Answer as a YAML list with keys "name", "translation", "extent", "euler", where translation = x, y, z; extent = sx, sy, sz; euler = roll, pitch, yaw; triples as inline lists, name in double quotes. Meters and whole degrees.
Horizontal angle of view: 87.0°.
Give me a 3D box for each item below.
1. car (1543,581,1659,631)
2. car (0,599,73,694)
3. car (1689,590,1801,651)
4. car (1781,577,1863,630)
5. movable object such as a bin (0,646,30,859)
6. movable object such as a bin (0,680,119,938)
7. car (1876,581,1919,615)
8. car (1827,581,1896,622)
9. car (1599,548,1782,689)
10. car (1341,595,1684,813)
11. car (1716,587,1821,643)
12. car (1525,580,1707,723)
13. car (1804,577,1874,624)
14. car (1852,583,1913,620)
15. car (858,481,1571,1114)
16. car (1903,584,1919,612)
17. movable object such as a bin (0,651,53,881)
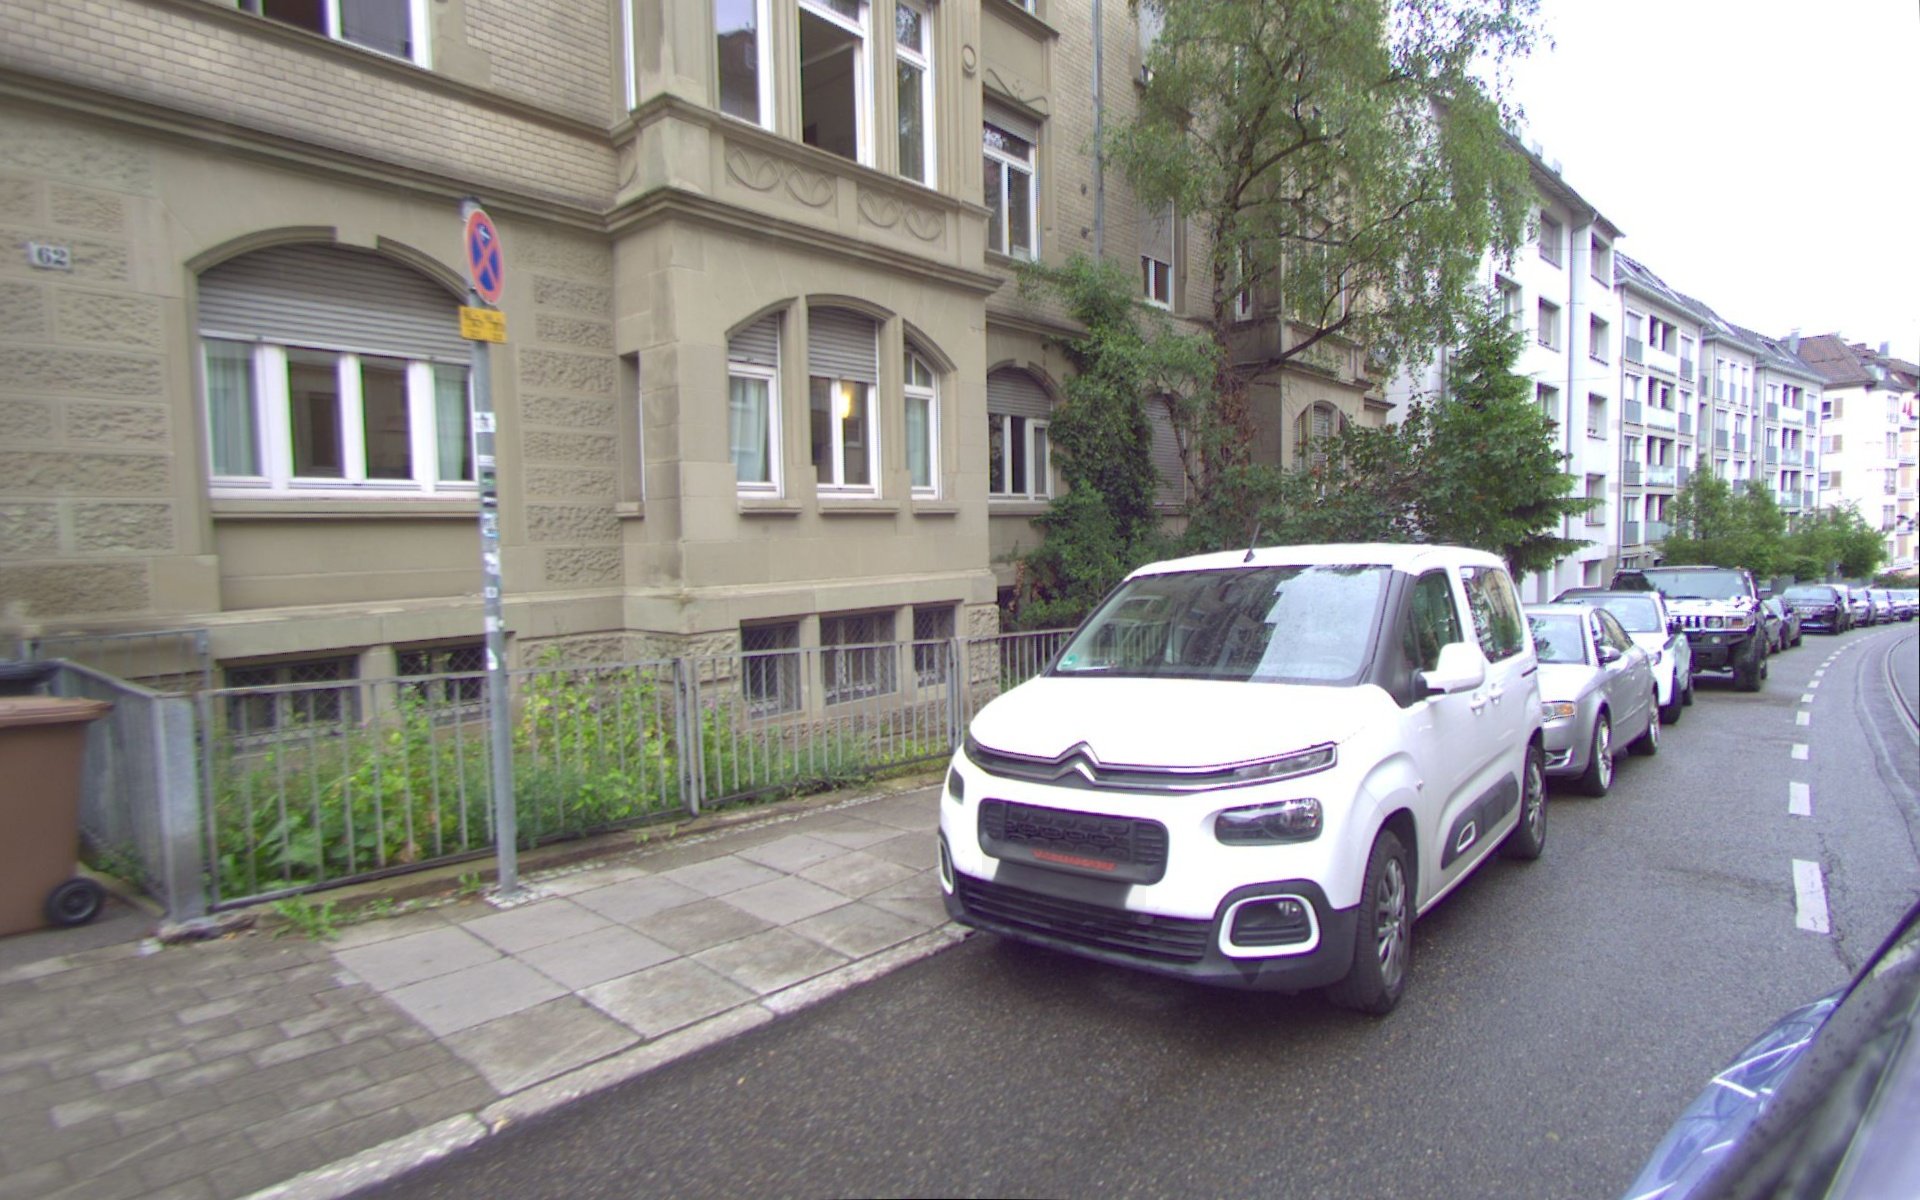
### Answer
- name: "car"
  translation: [19.777, 0.162, 31.178]
  extent: [4.079, 1.444, 1.816]
  euler: [-1, 0, -39]
- name: "car"
  translation: [-18.336, 0.723, 17.795]
  extent: [3.933, 1.529, 1.796]
  euler: [7, -1, -45]
- name: "car"
  translation: [19.233, 0.441, 24.755]
  extent: [3.819, 1.355, 1.679]
  euler: [-1, 1, -44]
- name: "car"
  translation: [31.802, 0.076, 37.282]
  extent: [1.943, 1.817, 4.744]
  euler: [1, 1, 45]
- name: "movable object such as a bin"
  translation: [-5.201, 0.791, 5.172]
  extent: [0.498, 1.075, 0.600]
  euler: [-3, -1, 41]
- name: "movable object such as a bin"
  translation: [-3.797, 0.825, 4.084]
  extent: [0.425, 0.931, 0.530]
  euler: [3, 2, 38]
- name: "car"
  translation: [48.617, -0.133, 52.167]
  extent: [1.975, 1.604, 4.495]
  euler: [1, 2, 43]
- name: "car"
  translation: [40.166, 0.037, 45.050]
  extent: [4.608, 1.676, 1.834]
  euler: [-1, 2, -43]
- name: "car"
  translation: [12.624, 0.238, 17.331]
  extent: [2.126, 2.039, 5.272]
  euler: [-1, 0, 40]
- name: "car"
  translation: [5.111, 0.695, 9.035]
  extent: [1.747, 1.418, 4.411]
  euler: [-1, 0, 41]
- name: "car"
  translation: [22.640, 0.354, 28.287]
  extent: [4.536, 1.455, 1.795]
  euler: [-1, 1, -45]
- name: "car"
  translation: [8.480, 0.552, 12.962]
  extent: [1.557, 1.565, 3.533]
  euler: [-1, 0, 39]
- name: "car"
  translation: [35.643, -0.021, 41.002]
  extent: [4.398, 1.817, 1.780]
  euler: [-1, 2, -44]
- name: "car"
  translation: [44.321, 0.037, 48.592]
  extent: [4.587, 1.648, 1.834]
  euler: [-1, 2, -44]
- name: "car"
  translation: [1.684, 0.538, 5.144]
  extent: [1.794, 1.787, 4.399]
  euler: [-1, 0, 40]
- name: "car"
  translation: [55.768, -0.153, 58.091]
  extent: [4.704, 1.534, 1.862]
  euler: [-1, 2, -40]
- name: "movable object such as a bin"
  translation: [-4.723, 0.784, 4.769]
  extent: [0.653, 1.043, 0.528]
  euler: [-1, -1, -43]
